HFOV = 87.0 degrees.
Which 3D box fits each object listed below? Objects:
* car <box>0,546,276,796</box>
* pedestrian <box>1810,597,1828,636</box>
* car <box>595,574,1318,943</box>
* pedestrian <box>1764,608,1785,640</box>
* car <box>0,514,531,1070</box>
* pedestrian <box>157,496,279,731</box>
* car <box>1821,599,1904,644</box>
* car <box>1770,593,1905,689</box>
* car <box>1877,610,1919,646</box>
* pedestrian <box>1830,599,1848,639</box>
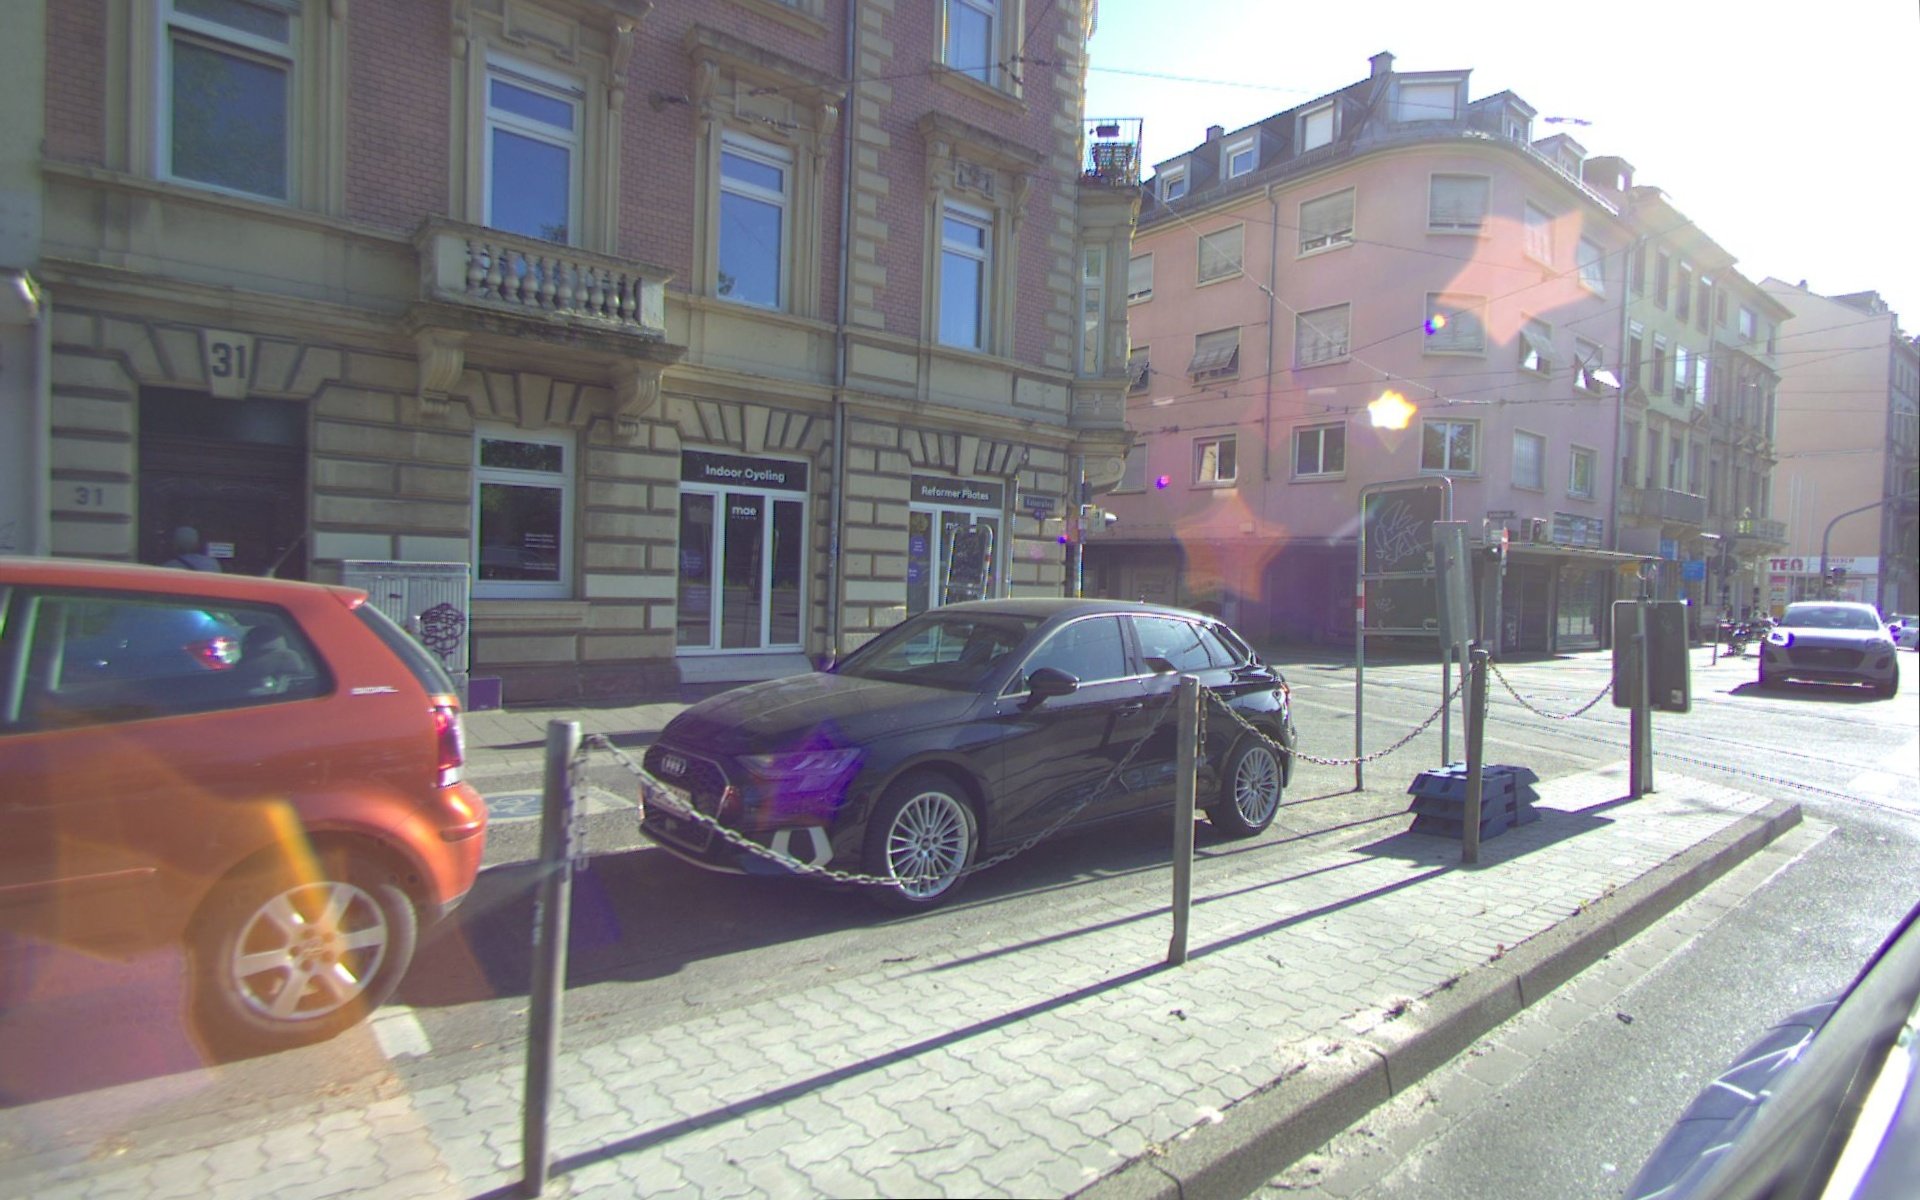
[{"bbox_3d":[-6.923,0.406,6.560,3.930,1.498,1.697,1,3,-42],"label":"car"},{"bbox_3d":[39.858,0.740,46.934,0.648,1.784,0.495,1,1,-39],"label":"pedestrian"},{"bbox_3d":[0.216,0.639,5.926,4.094,1.439,1.700,1,-1,-40],"label":"car"},{"bbox_3d":[32.968,0.952,40.978,0.647,1.275,0.495,1,1,-36],"label":"pedestrian"},{"bbox_3d":[-3.468,0.492,2.892,3.835,1.453,1.592,1,-1,-39],"label":"car"},{"bbox_3d":[-6.751,0.121,9.238,0.836,2.039,0.513,1,-1,-36],"label":"pedestrian"},{"bbox_3d":[34.727,0.823,38.913,3.928,1.537,1.739,1,3,-40],"label":"car"},{"bbox_3d":[15.518,0.661,17.838,1.655,1.500,3.909,0,-1,43],"label":"car"},{"bbox_3d":[42.153,1.205,43.423,3.923,1.469,1.817,1,-1,-1],"label":"car"},{"bbox_3d":[40.281,0.859,46.375,0.648,1.784,0.495,1,1,-39],"label":"pedestrian"}]
